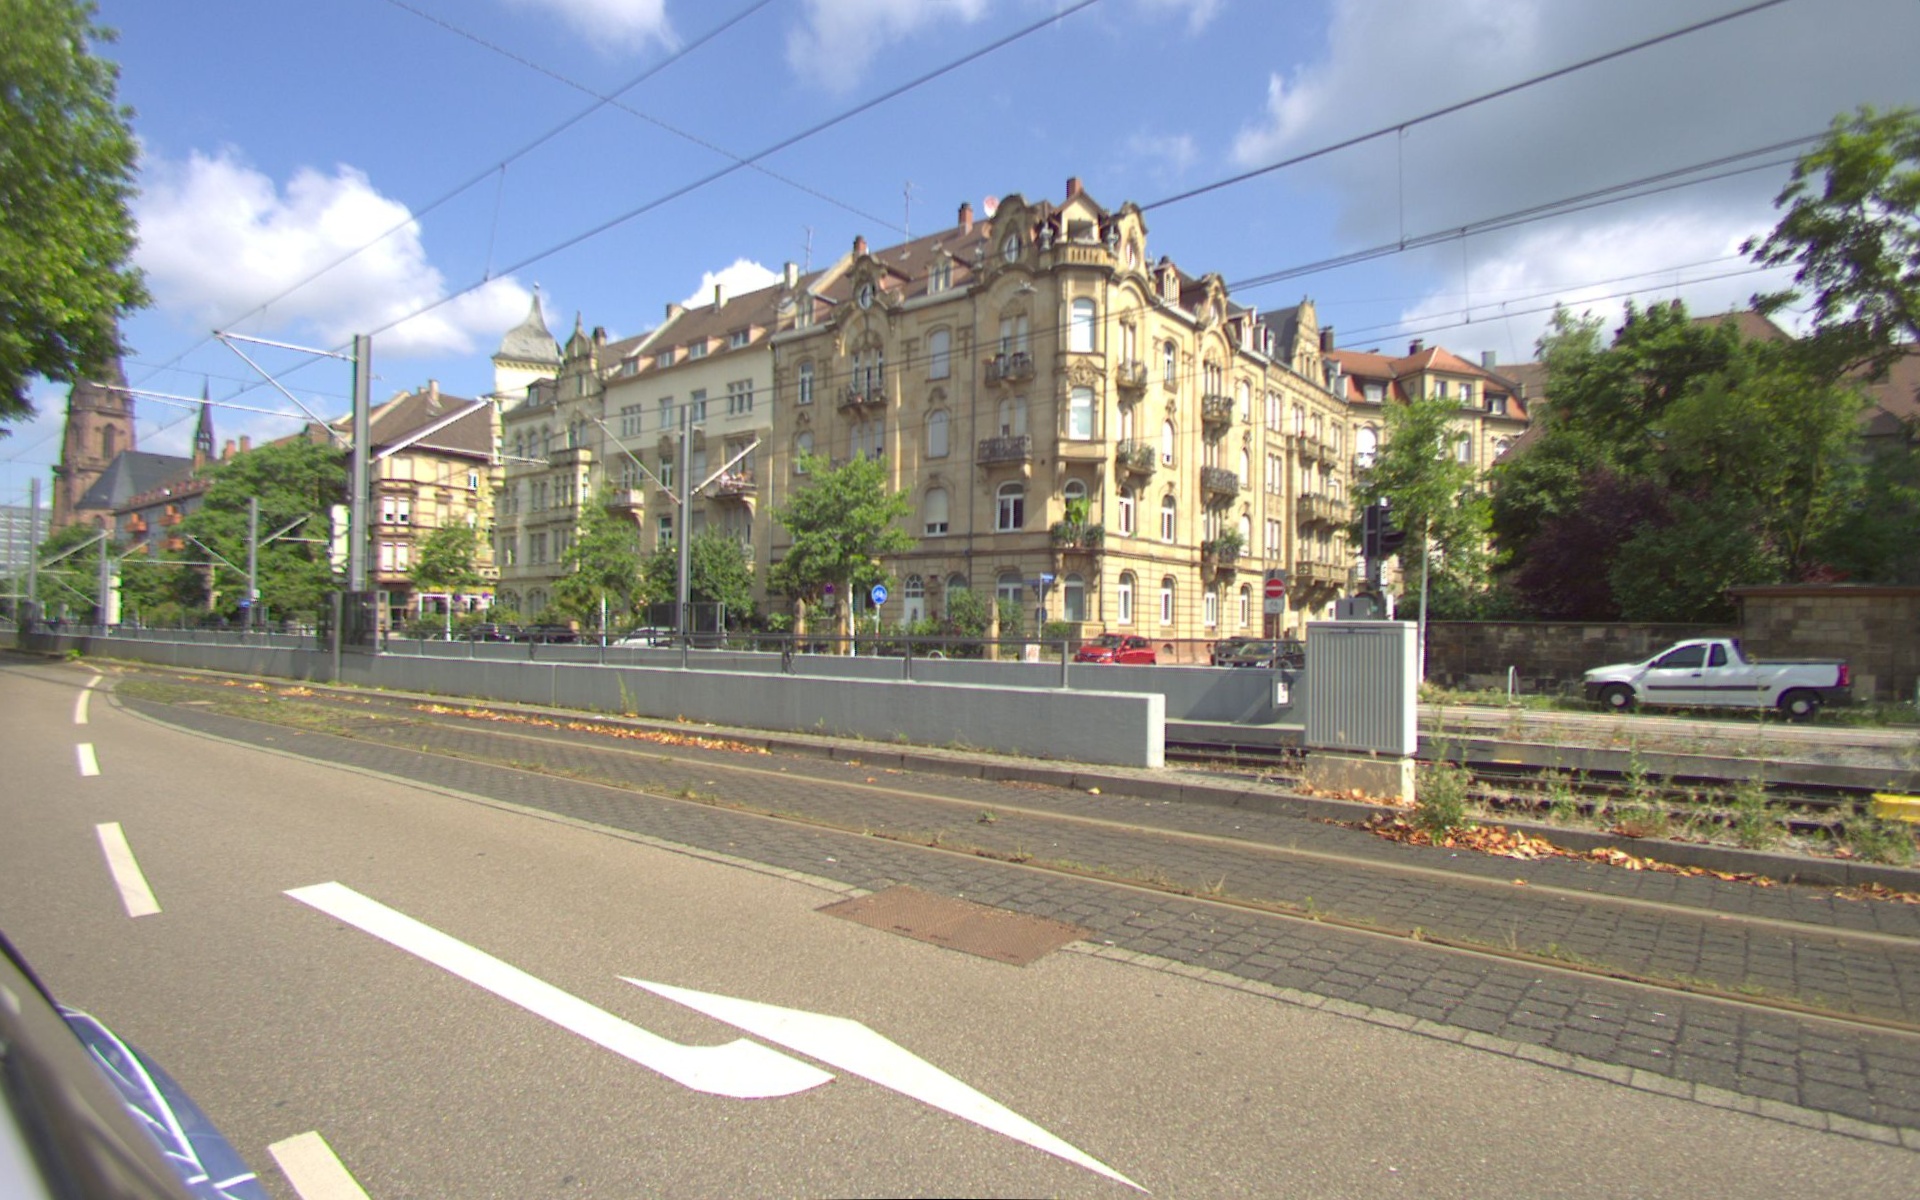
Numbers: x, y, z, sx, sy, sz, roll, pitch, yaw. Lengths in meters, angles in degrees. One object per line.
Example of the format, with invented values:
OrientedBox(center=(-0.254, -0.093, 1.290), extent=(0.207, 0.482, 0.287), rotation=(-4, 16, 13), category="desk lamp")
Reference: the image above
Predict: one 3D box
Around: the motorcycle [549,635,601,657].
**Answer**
OrientedBox(center=(-17.909, 2.129, 47.110), extent=(1.416, 0.948, 1.743), rotation=(-1, -4, 38), category="motorcycle")

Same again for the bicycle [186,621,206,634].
OrientedBox(center=(-60.131, 2.167, 79.634), extent=(2.139, 0.986, 0.768), rotation=(-1, -4, 40), category="bicycle")

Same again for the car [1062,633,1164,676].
OrientedBox(center=(5.586, 1.951, 36.751), extent=(1.932, 1.475, 3.740), rotation=(-1, -3, 42), category="car")

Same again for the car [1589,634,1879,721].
OrientedBox(center=(15.272, 1.461, 20.241), extent=(4.407, 1.516, 1.913), rotation=(-1, -2, 38), category="car")

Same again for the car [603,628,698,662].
OrientedBox(center=(-13.290, 1.911, 43.367), extent=(4.306, 1.338, 1.735), rotation=(-1, -3, 37), category="car")

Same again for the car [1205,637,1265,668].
OrientedBox(center=(12.336, 2.327, 45.308), extent=(1.501, 1.323, 3.199), rotation=(-1, -2, 37), category="car")

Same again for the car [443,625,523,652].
OrientedBox(center=(-24.704, 1.988, 52.390), extent=(4.721, 1.337, 1.929), rotation=(-1, -2, 40), category="car")

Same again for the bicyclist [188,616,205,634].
OrientedBox(center=(-59.968, 1.972, 79.495), extent=(1.048, 1.348, 0.760), rotation=(-1, -4, 40), category="bicyclist")

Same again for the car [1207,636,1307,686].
OrientedBox(center=(9.621, 1.932, 32.635), extent=(1.722, 1.475, 3.923), rotation=(-1, -3, 39), category="car")

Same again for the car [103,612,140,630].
OrientedBox(center=(-82.974, 2.086, 100.160), extent=(4.109, 1.650, 1.974), rotation=(-1, -3, 39), category="car")

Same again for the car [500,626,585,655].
OrientedBox(center=(-20.266, 1.950, 49.031), extent=(4.094, 1.337, 2.001), rotation=(-1, -2, 37), category="car")
